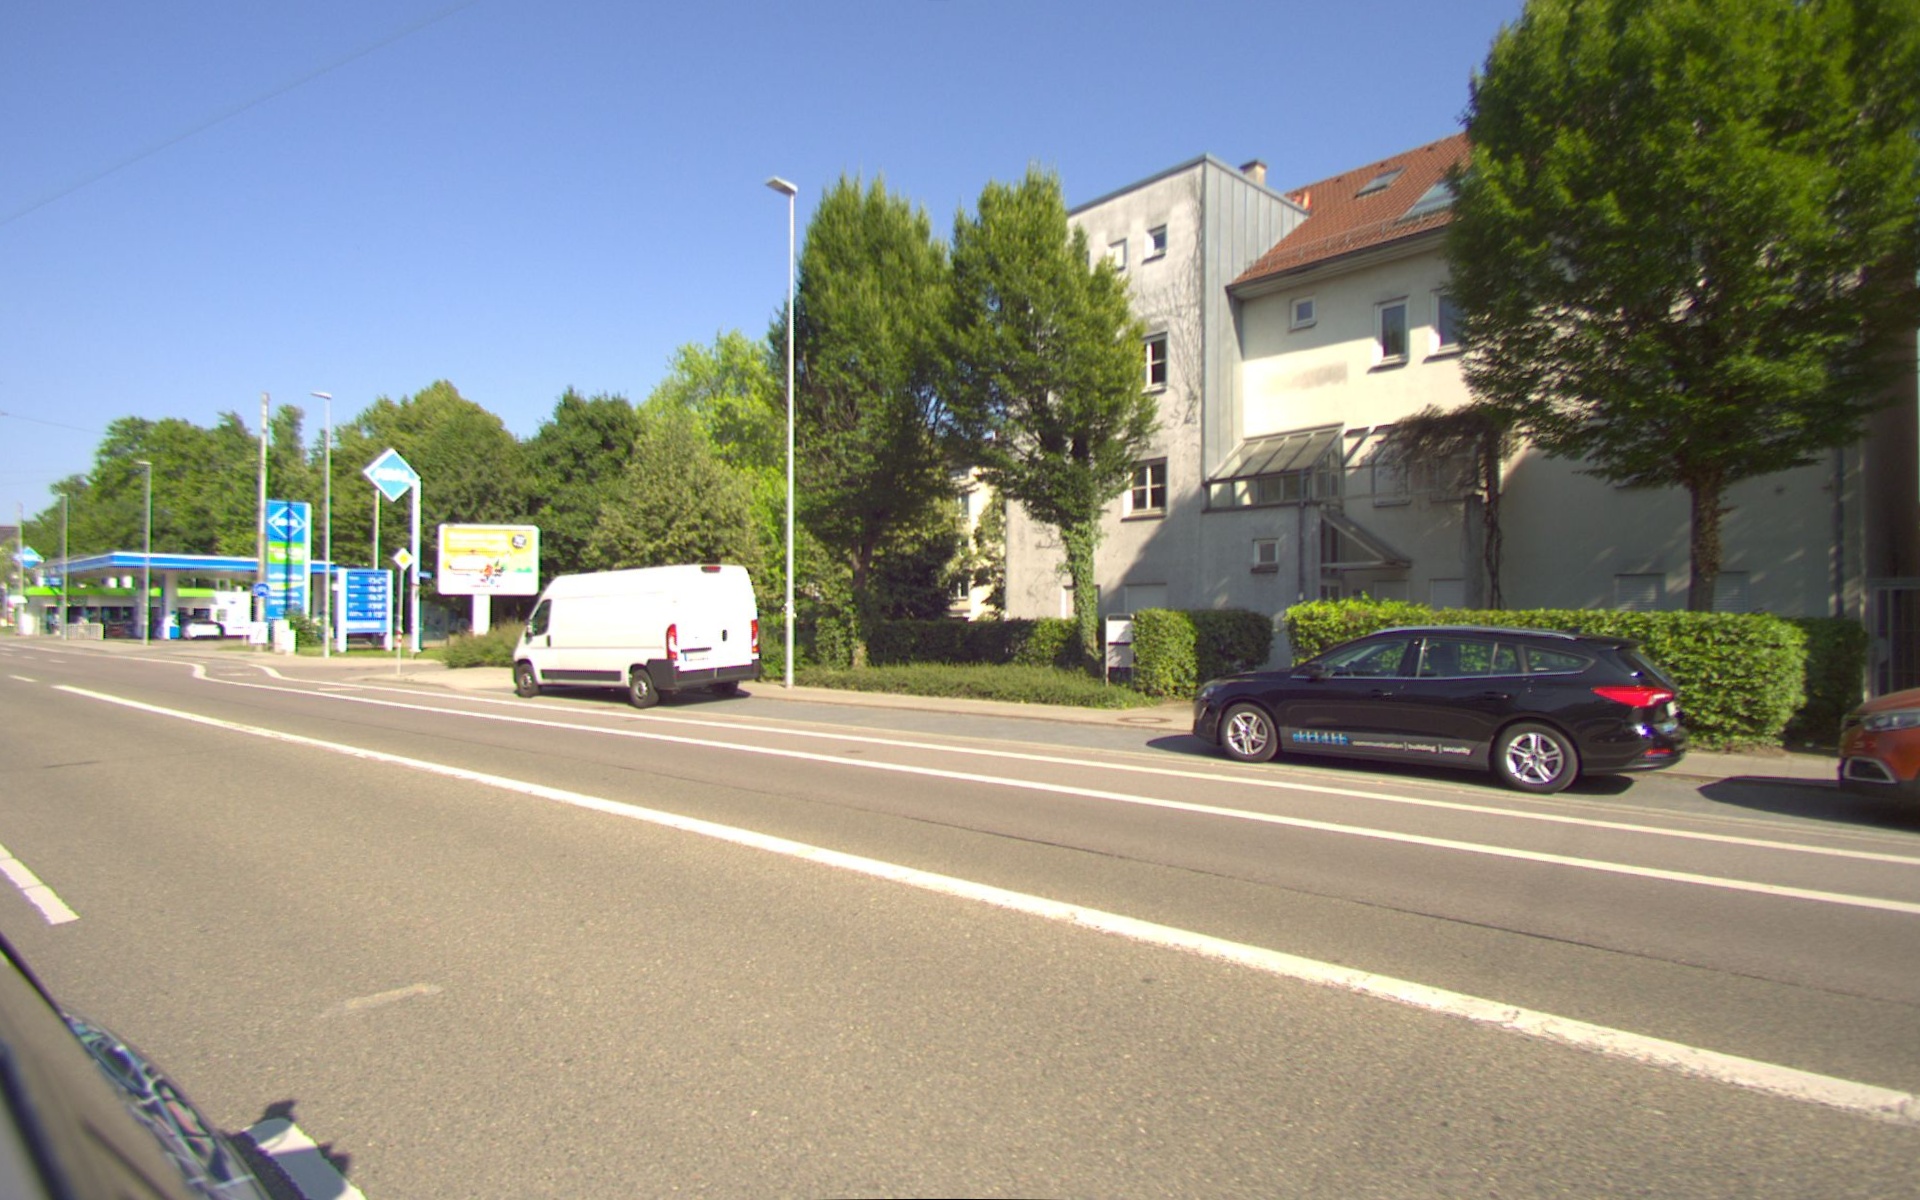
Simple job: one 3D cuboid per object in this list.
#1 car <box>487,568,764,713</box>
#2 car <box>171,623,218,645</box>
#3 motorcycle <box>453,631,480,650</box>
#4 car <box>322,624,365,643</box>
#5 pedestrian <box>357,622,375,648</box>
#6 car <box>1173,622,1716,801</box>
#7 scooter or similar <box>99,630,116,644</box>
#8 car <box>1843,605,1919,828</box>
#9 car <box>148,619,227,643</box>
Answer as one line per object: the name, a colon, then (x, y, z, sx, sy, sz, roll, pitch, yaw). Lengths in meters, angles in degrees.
car: (-6.750, 0.726, 19.951, 6.176, 2.476, 2.131, -1, 0, 39)
car: (-54.313, 2.388, 71.782, 4.271, 1.502, 1.719, -1, -2, 40)
motorcycle: (-26.115, 2.142, 53.562, 1.903, 0.989, 0.512, -1, -2, 39)
car: (-47.758, 2.594, 78.368, 3.999, 1.457, 1.718, -1, -2, 42)
pedestrian: (-38.902, 2.279, 66.297, 0.811, 1.726, 1.068, 2, -2, -39)
car: (4.669, 0.951, 10.285, 4.710, 1.435, 1.635, -1, -2, 41)
scooter or similar: (-68.966, 3.011, 81.834, 1.017, 1.118, 0.350, 2, -3, -44)
car: (8.684, 0.837, 6.769, 4.160, 1.586, 1.744, 0, -1, 41)
car: (-65.175, 2.595, 85.432, 1.857, 1.955, 5.015, -2, -3, 43)
